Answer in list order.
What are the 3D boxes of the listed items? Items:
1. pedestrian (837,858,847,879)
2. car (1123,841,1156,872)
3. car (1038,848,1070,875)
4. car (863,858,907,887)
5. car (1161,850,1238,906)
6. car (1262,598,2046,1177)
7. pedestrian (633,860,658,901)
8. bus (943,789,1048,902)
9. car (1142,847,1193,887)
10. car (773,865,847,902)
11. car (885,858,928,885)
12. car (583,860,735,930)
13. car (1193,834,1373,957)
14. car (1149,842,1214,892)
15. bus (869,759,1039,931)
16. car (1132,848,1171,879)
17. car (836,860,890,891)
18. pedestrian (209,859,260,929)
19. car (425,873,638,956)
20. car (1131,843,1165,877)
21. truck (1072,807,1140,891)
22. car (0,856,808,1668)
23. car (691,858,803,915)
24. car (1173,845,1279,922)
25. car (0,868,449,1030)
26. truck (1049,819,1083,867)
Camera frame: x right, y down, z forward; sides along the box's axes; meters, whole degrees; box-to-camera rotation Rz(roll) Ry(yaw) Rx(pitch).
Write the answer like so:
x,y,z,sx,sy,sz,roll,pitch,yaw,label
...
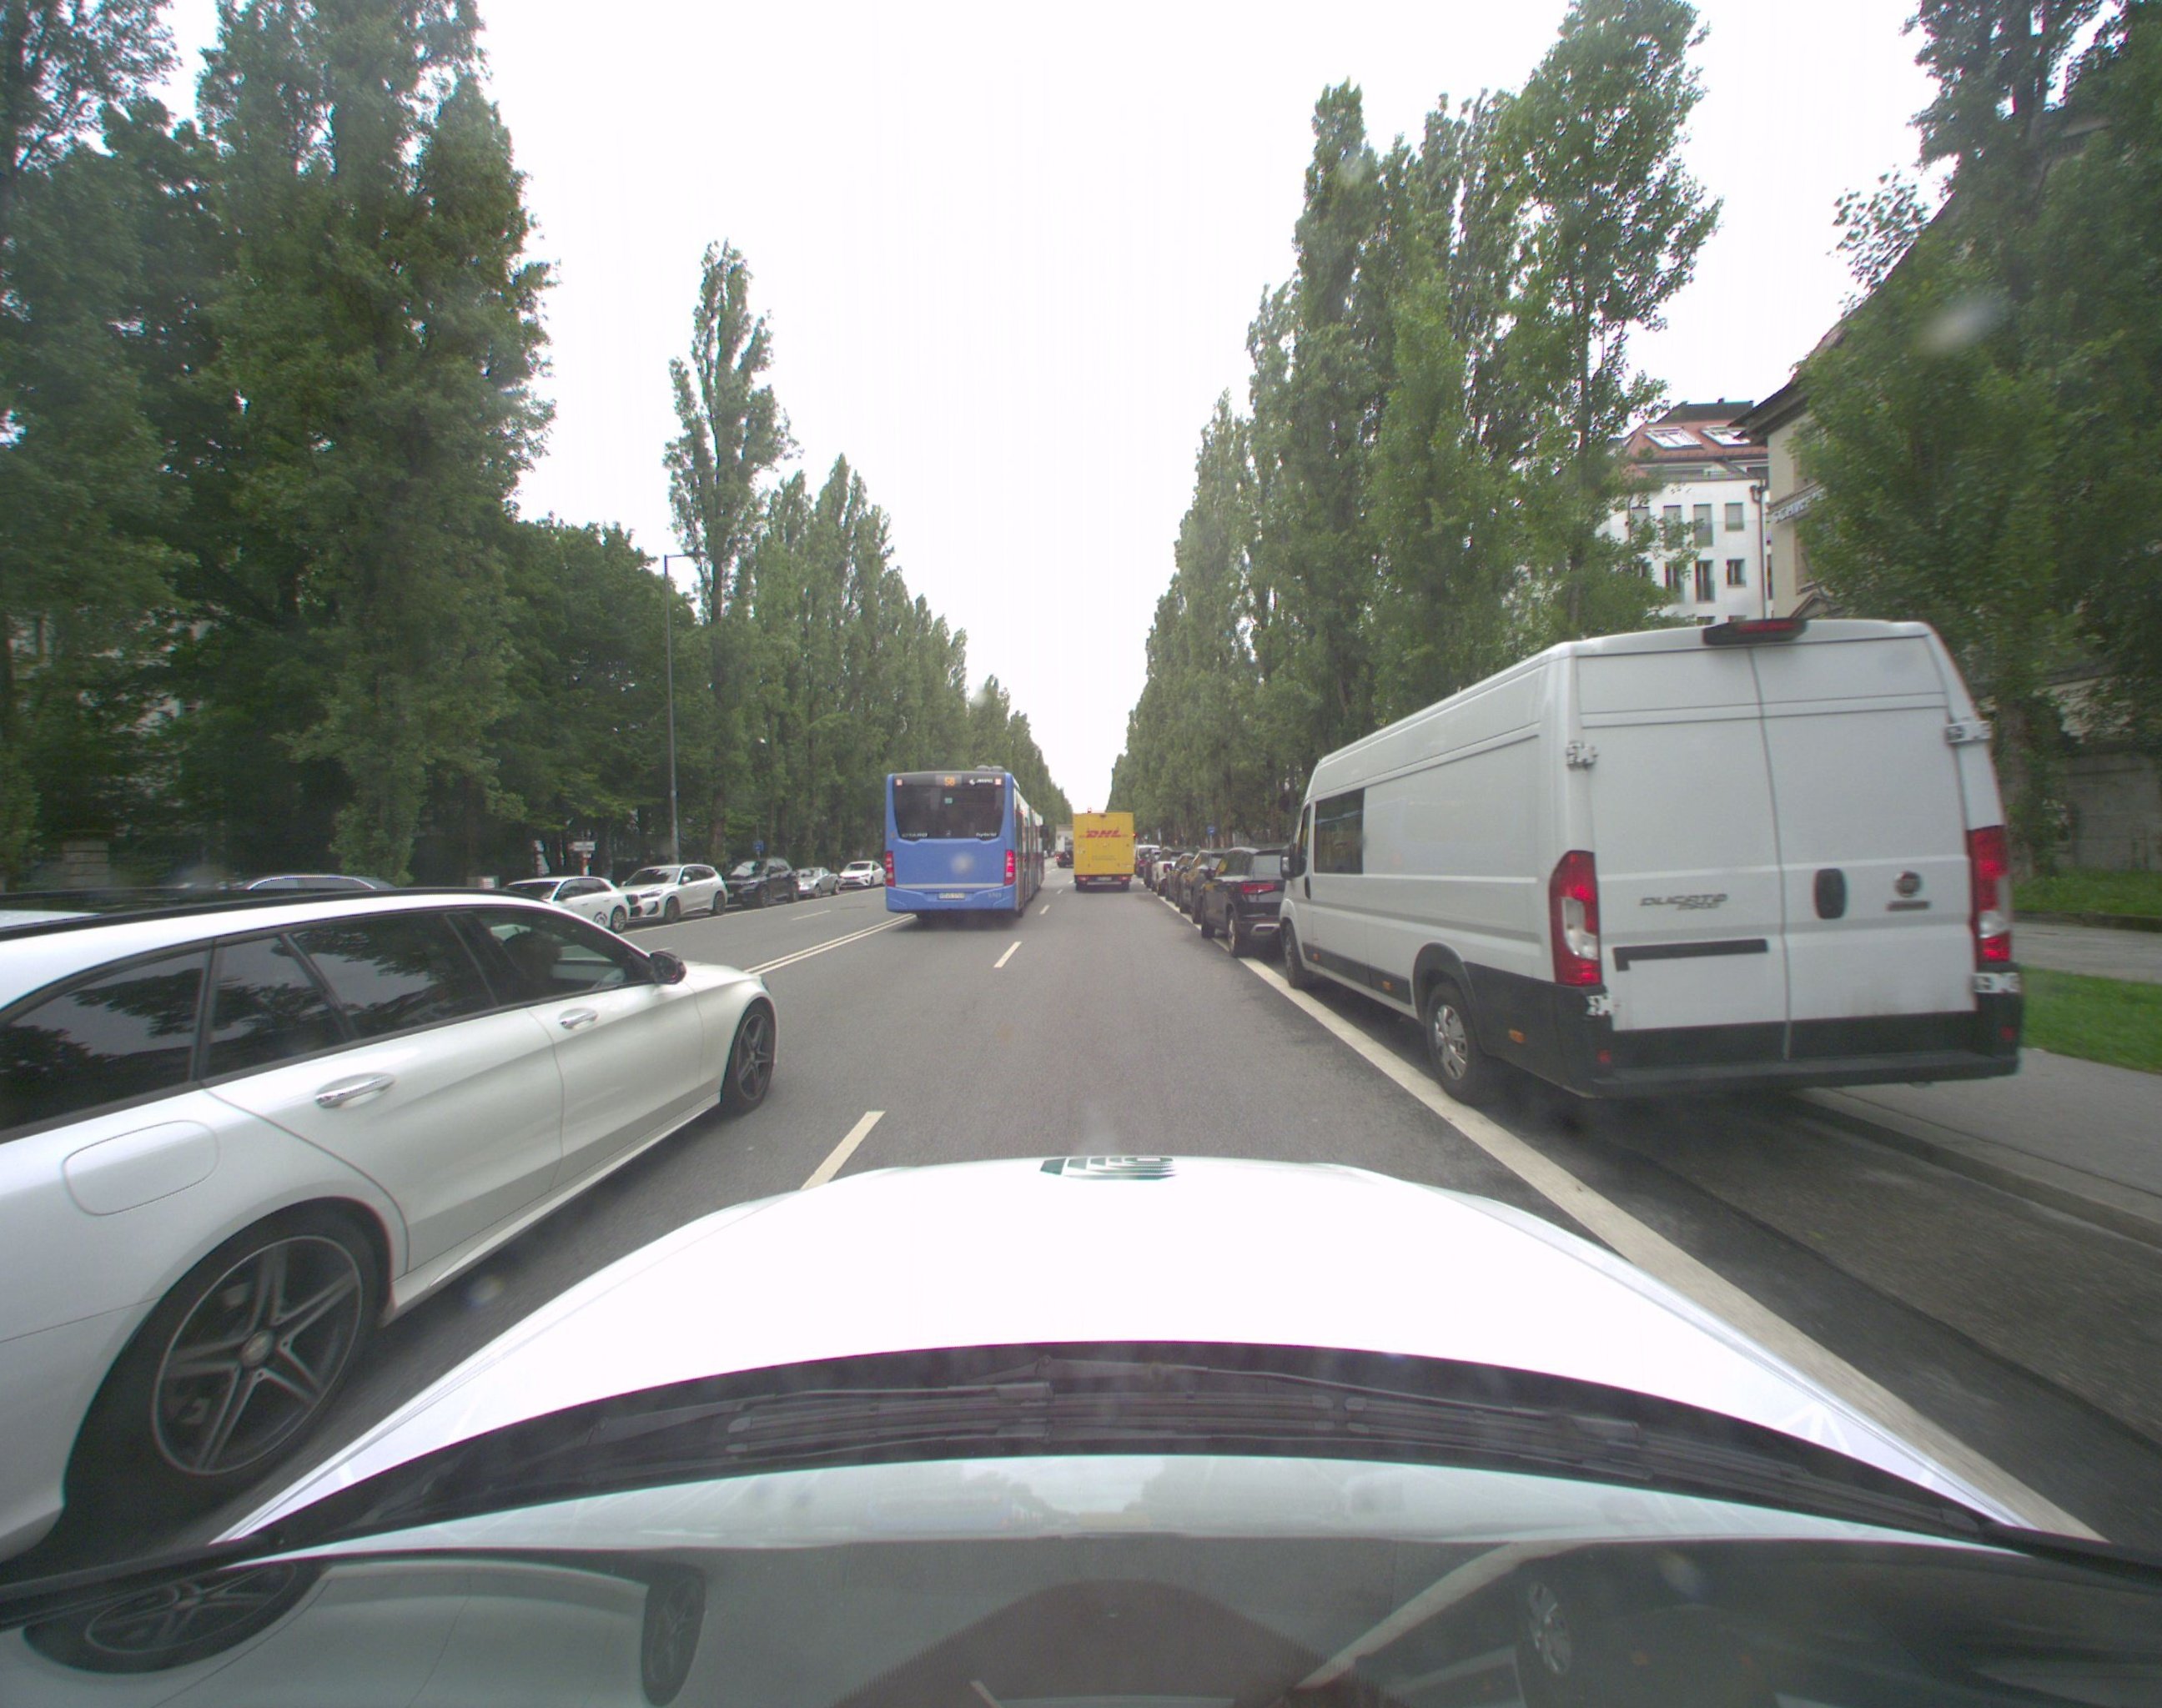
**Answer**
x,y,z,sx,sy,sz,roll,pitch,yaw,label
-20.683,1.245,70.499,0.597,1.739,0.640,-2,0,1,pedestrian
4.144,0.136,58.294,2.045,2.013,5.694,-2,0,1,car
-1.943,0.535,59.560,2.028,1.801,4.509,-2,0,1,car
-11.421,1.038,47.697,1.740,1.518,4.111,-3,0,-4,car
3.280,0.622,23.281,1.627,1.446,4.149,1,0,0,car
3.177,0.125,6.668,2.067,2.479,6.284,-1,0,1,car
-19.671,1.205,36.776,0.637,1.815,0.775,-2,0,1,pedestrian
-2.762,-0.271,29.335,2.864,3.304,9.783,-2,0,-1,bus
3.482,0.506,33.413,1.719,1.495,4.326,-2,0,2,car
-11.437,1.196,34.634,1.574,1.304,4.030,-4,0,2,car
-11.349,1.108,53.185,1.785,1.548,4.338,-5,0,0,car
-11.754,1.067,23.083,1.779,1.588,4.463,-4,0,2,car
2.959,0.544,12.876,1.815,1.590,4.223,-1,0,0,car
3.352,0.401,27.842,1.775,1.581,4.147,0,0,0,car
-2.638,-0.208,20.022,2.847,3.213,9.055,-1,0,-1,bus
3.800,0.481,44.533,1.856,1.552,4.002,-2,0,2,car
-11.541,1.100,43.316,1.680,1.413,4.004,-4,0,0,car
-21.524,1.008,20.716,0.547,1.747,0.673,-1,0,0,pedestrian
-11.823,1.227,17.930,1.670,1.422,4.238,-3,0,1,car
4.083,0.359,50.046,1.799,1.976,4.238,-1,0,1,car
0.903,-0.181,32.272,2.320,2.898,7.333,-2,0,0,truck
-2.833,0.756,3.263,1.819,1.454,4.584,-1,0,1,car
-11.584,1.063,28.607,1.874,1.658,4.717,-4,0,0,car
3.091,0.572,18.086,1.646,1.503,4.114,-1,0,0,car
-11.757,1.103,11.333,1.809,1.608,5.053,-4,0,1,car
-1.362,-0.914,73.448,2.708,3.965,9.213,-2,0,-1,truck
